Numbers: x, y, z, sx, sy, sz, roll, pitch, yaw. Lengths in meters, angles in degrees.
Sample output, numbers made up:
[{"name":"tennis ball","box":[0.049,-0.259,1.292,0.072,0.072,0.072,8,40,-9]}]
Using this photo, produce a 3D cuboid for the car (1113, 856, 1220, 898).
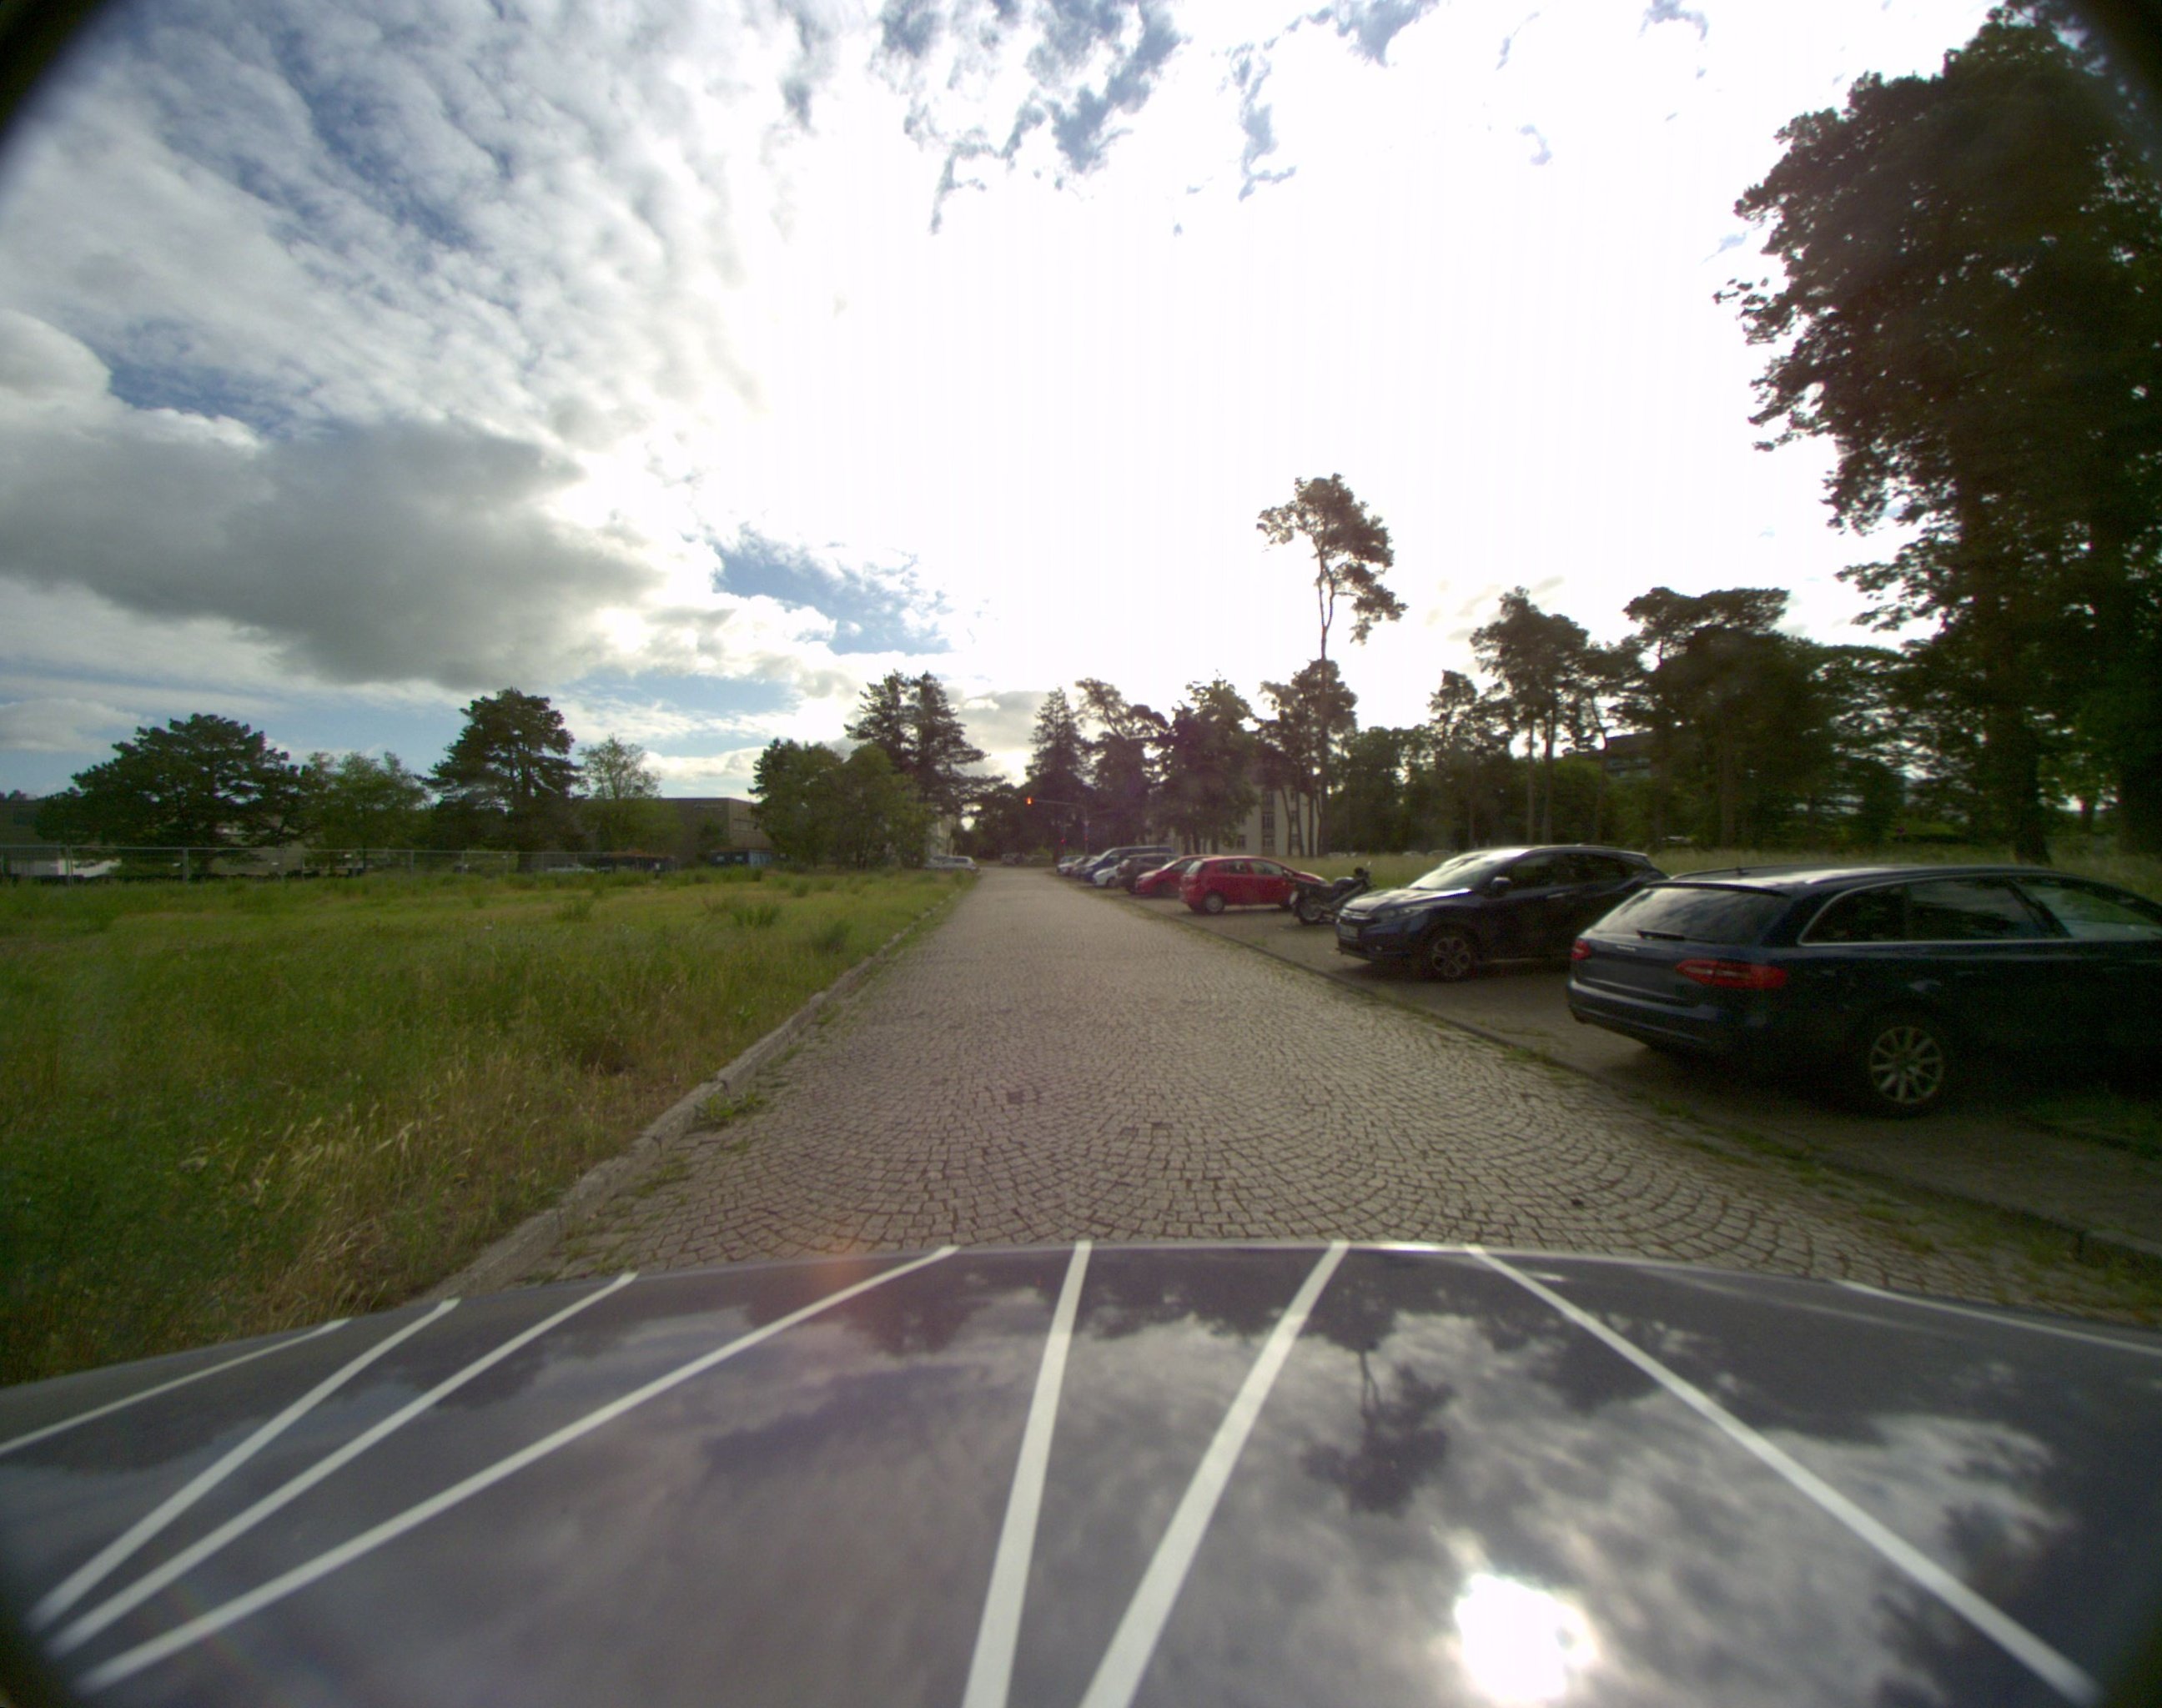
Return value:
[{"name":"car","box":[3.375,0.878,30.355,3.918,1.594,1.819,-1,0,-8]}]

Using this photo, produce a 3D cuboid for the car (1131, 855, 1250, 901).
[{"name":"car","box":[3.944,0.851,27.680,3.953,1.511,1.706,-1,0,-6]}]

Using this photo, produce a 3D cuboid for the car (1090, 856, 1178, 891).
[{"name":"car","box":[2.535,0.909,36.694,3.932,1.385,1.741,-4,2,-8]}]

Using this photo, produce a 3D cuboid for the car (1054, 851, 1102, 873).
[{"name":"car","box":[-0.252,0.618,60.258,3.573,1.450,1.625,-4,2,-8]}]

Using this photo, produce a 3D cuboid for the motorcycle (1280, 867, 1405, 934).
[{"name":"motorcycle","box":[5.422,0.947,15.813,2.363,1.280,0.743,-1,1,-6]}]

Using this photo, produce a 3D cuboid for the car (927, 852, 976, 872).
[{"name":"car","box":[-10.352,0.625,60.809,3.732,1.430,1.625,-3,2,-10]}]

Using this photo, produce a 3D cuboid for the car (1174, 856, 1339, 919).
[{"name":"car","box":[4.586,0.849,20.111,3.896,1.470,1.670,-2,0,-6]}]

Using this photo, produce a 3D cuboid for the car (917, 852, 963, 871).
[{"name":"car","box":[-12.253,0.614,65.910,3.733,1.430,1.624,-3,1,-14]}]

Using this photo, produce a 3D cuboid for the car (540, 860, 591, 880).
[{"name":"car","box":[-50.099,1.517,73.912,1.994,1.892,3.779,-2,-2,44]}]

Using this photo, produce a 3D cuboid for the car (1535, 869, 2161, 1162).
[{"name":"car","box":[5.769,0.909,5.117,4.443,1.471,1.682,-1,0,-2]}]

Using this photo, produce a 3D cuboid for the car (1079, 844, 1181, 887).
[{"name":"car","box":[2.507,0.544,39.309,4.835,1.855,2.160,-4,2,-8]}]

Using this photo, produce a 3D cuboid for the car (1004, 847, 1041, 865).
[{"name":"car","box":[-9.961,0.338,129.250,5.800,2.548,2.766,-4,2,-11]}]

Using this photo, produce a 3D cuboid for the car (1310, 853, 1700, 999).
[{"name":"car","box":[5.332,0.828,9.842,4.151,1.564,1.789,-1,1,-7]}]

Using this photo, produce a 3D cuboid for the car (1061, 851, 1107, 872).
[{"name":"car","box":[0.229,0.602,62.858,3.457,1.424,1.626,-4,2,-16]}]

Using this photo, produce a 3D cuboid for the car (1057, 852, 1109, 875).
[{"name":"car","box":[0.173,0.678,57.562,3.574,1.479,1.600,-4,2,-14]}]

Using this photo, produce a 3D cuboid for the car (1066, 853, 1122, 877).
[{"name":"car","box":[0.895,0.719,52.975,3.574,1.408,1.636,-4,2,-13]}]

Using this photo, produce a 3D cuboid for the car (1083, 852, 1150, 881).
[{"name":"car","box":[2.096,0.692,44.976,3.601,1.446,1.685,-4,2,-13]}]

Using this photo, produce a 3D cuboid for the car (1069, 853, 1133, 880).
[{"name":"car","box":[1.225,0.757,47.231,3.602,1.413,1.616,-3,1,-13]}]

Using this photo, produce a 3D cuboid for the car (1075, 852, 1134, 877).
[{"name":"car","box":[1.563,0.662,50.388,3.574,1.426,1.604,-4,2,-13]}]
